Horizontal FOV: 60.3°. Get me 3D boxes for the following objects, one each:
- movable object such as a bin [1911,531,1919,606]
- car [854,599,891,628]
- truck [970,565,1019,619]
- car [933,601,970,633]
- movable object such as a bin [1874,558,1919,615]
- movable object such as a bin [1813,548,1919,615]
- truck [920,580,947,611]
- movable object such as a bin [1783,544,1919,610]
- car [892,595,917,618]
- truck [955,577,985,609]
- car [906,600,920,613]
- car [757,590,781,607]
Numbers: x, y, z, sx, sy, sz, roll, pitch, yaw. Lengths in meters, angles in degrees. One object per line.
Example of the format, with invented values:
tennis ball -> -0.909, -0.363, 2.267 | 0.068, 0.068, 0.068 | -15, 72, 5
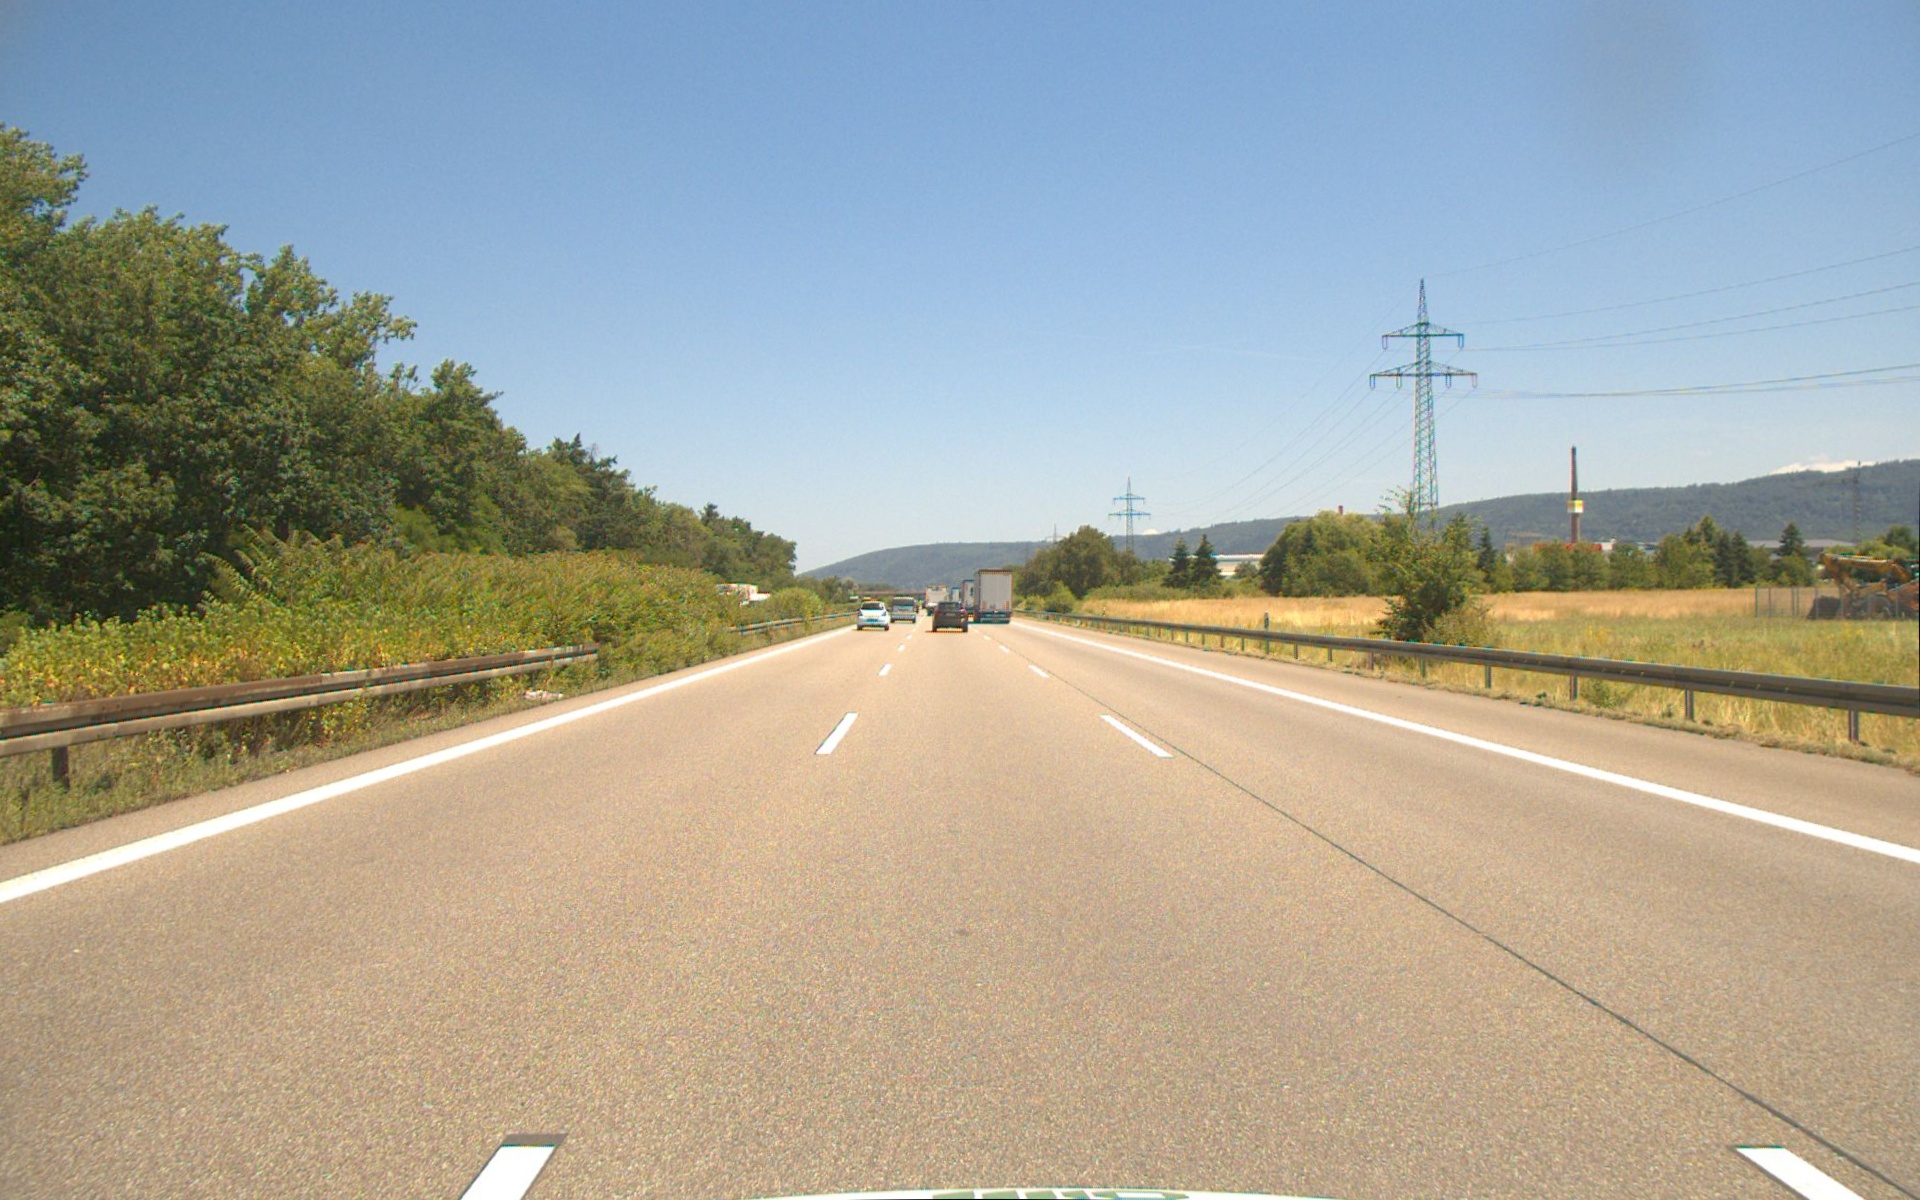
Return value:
movable object such as a bin -> 51.937, -1.705, 83.639 | 6.213, 3.797, 2.275 | -2, 0, 5
car -> -4.700, 0.700, 89.176 | 1.770, 1.494, 3.999 | 1, 0, -1
truck -> 2.612, -0.653, 129.244 | 3.199, 3.925, 11.628 | 1, 0, -1
car -> -0.455, 0.861, 86.619 | 1.846, 1.542, 3.999 | 1, 0, -1
movable object such as a bin -> 51.971, -0.820, 87.138 | 6.213, 2.930, 2.275 | -2, 0, 5
movable object such as a bin -> 51.084, -1.072, 90.539 | 7.387, 3.461, 2.275 | -2, 0, 5
truck -> -3.156, -0.603, 197.261 | 3.034, 3.535, 11.539 | 1, 0, -1
movable object such as a bin -> 51.632, -1.302, 94.735 | 7.387, 3.461, 3.052 | -2, 0, 5
car -> -4.132, 0.494, 123.901 | 1.814, 1.661, 3.999 | 1, 0, -1
truck -> 1.094, -0.844, 189.980 | 3.034, 3.535, 11.539 | 1, 0, -1
car -> -6.564, 0.928, 231.968 | 1.814, 1.661, 3.999 | 1, 0, -1
car -> -17.035, -0.170, 147.659 | 1.750, 1.426, 4.327 | 1, 0, -1
